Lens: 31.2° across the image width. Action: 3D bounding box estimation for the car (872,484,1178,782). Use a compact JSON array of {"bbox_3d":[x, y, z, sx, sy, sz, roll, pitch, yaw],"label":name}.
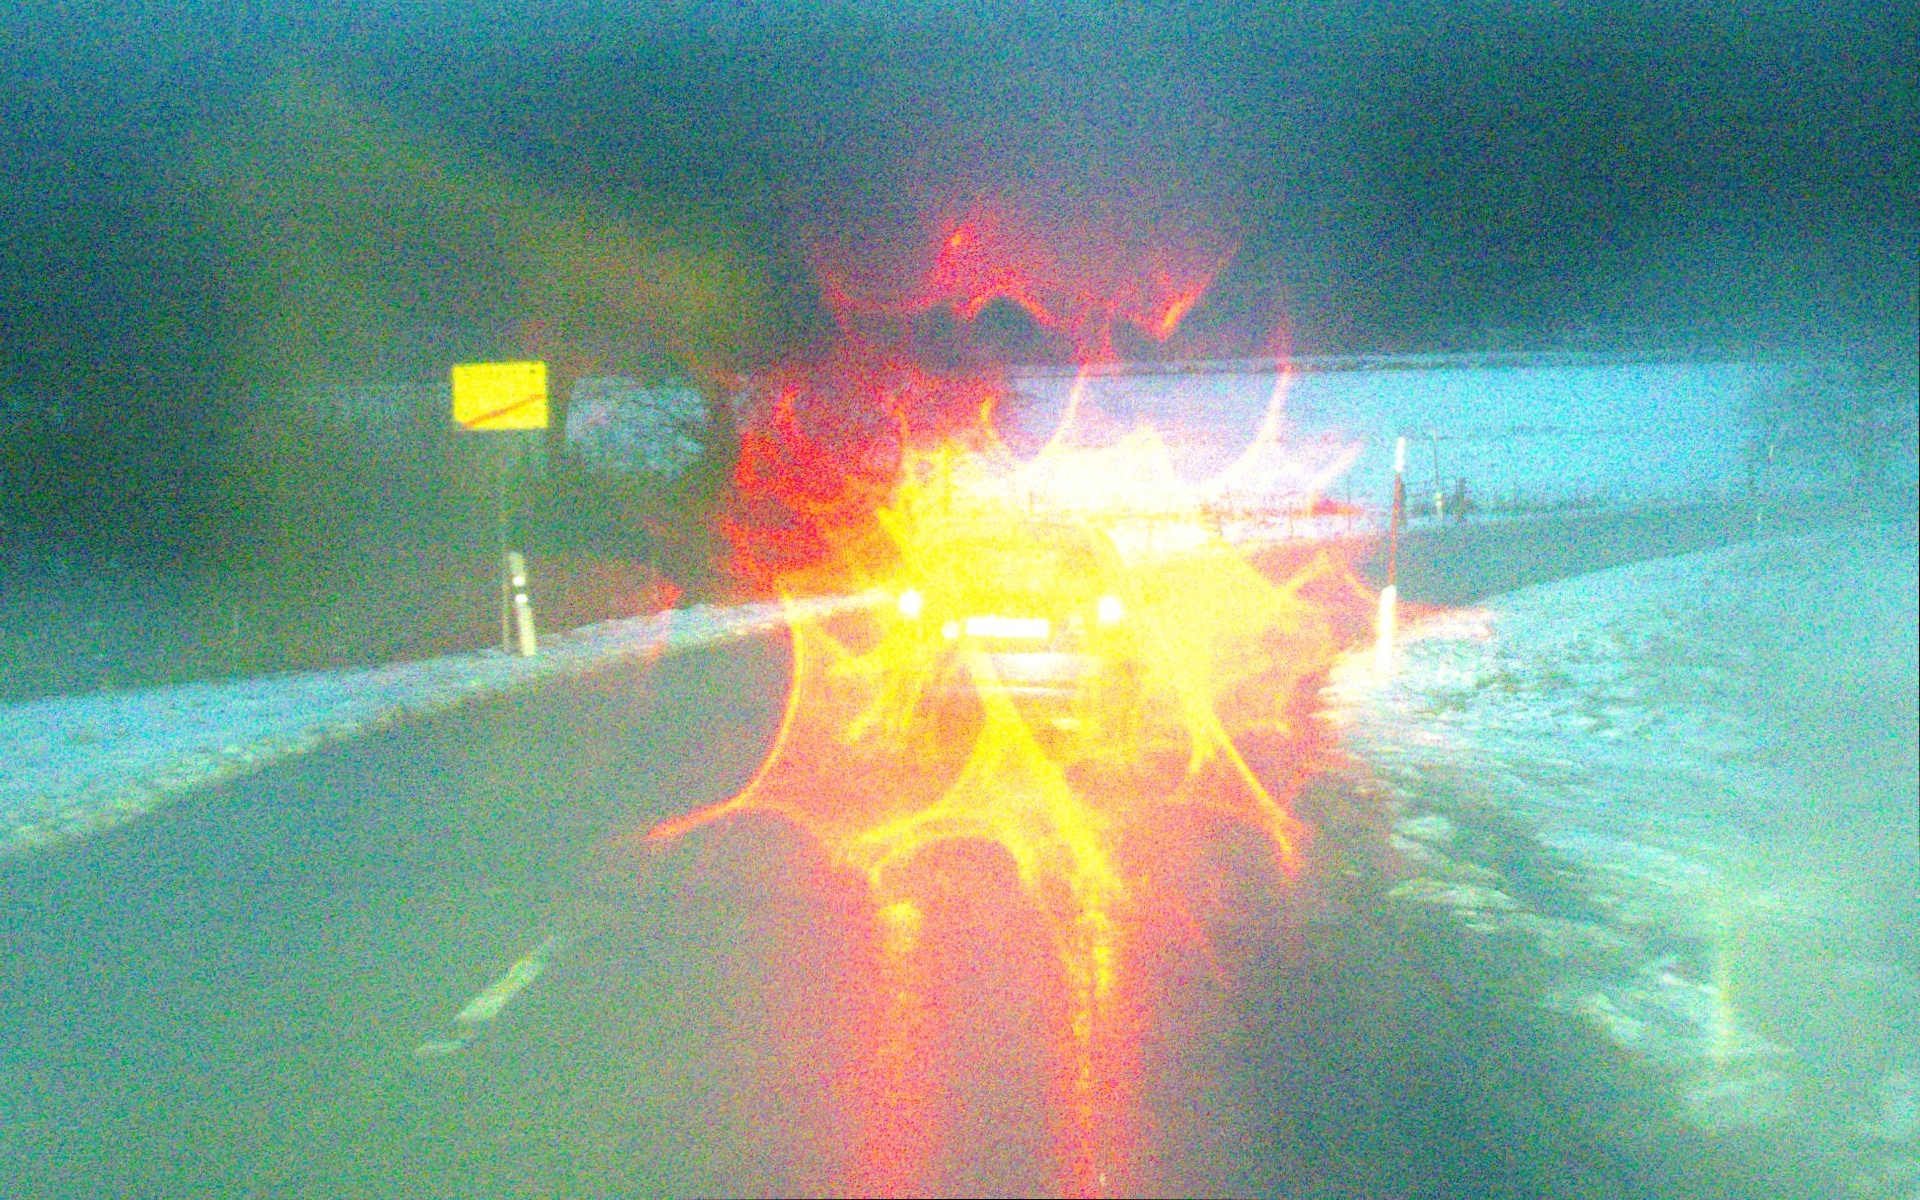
[{"bbox_3d":[0.367,0.184,23.447,1.822,1.790,3.578,3,1,-2],"label":"car"}]
